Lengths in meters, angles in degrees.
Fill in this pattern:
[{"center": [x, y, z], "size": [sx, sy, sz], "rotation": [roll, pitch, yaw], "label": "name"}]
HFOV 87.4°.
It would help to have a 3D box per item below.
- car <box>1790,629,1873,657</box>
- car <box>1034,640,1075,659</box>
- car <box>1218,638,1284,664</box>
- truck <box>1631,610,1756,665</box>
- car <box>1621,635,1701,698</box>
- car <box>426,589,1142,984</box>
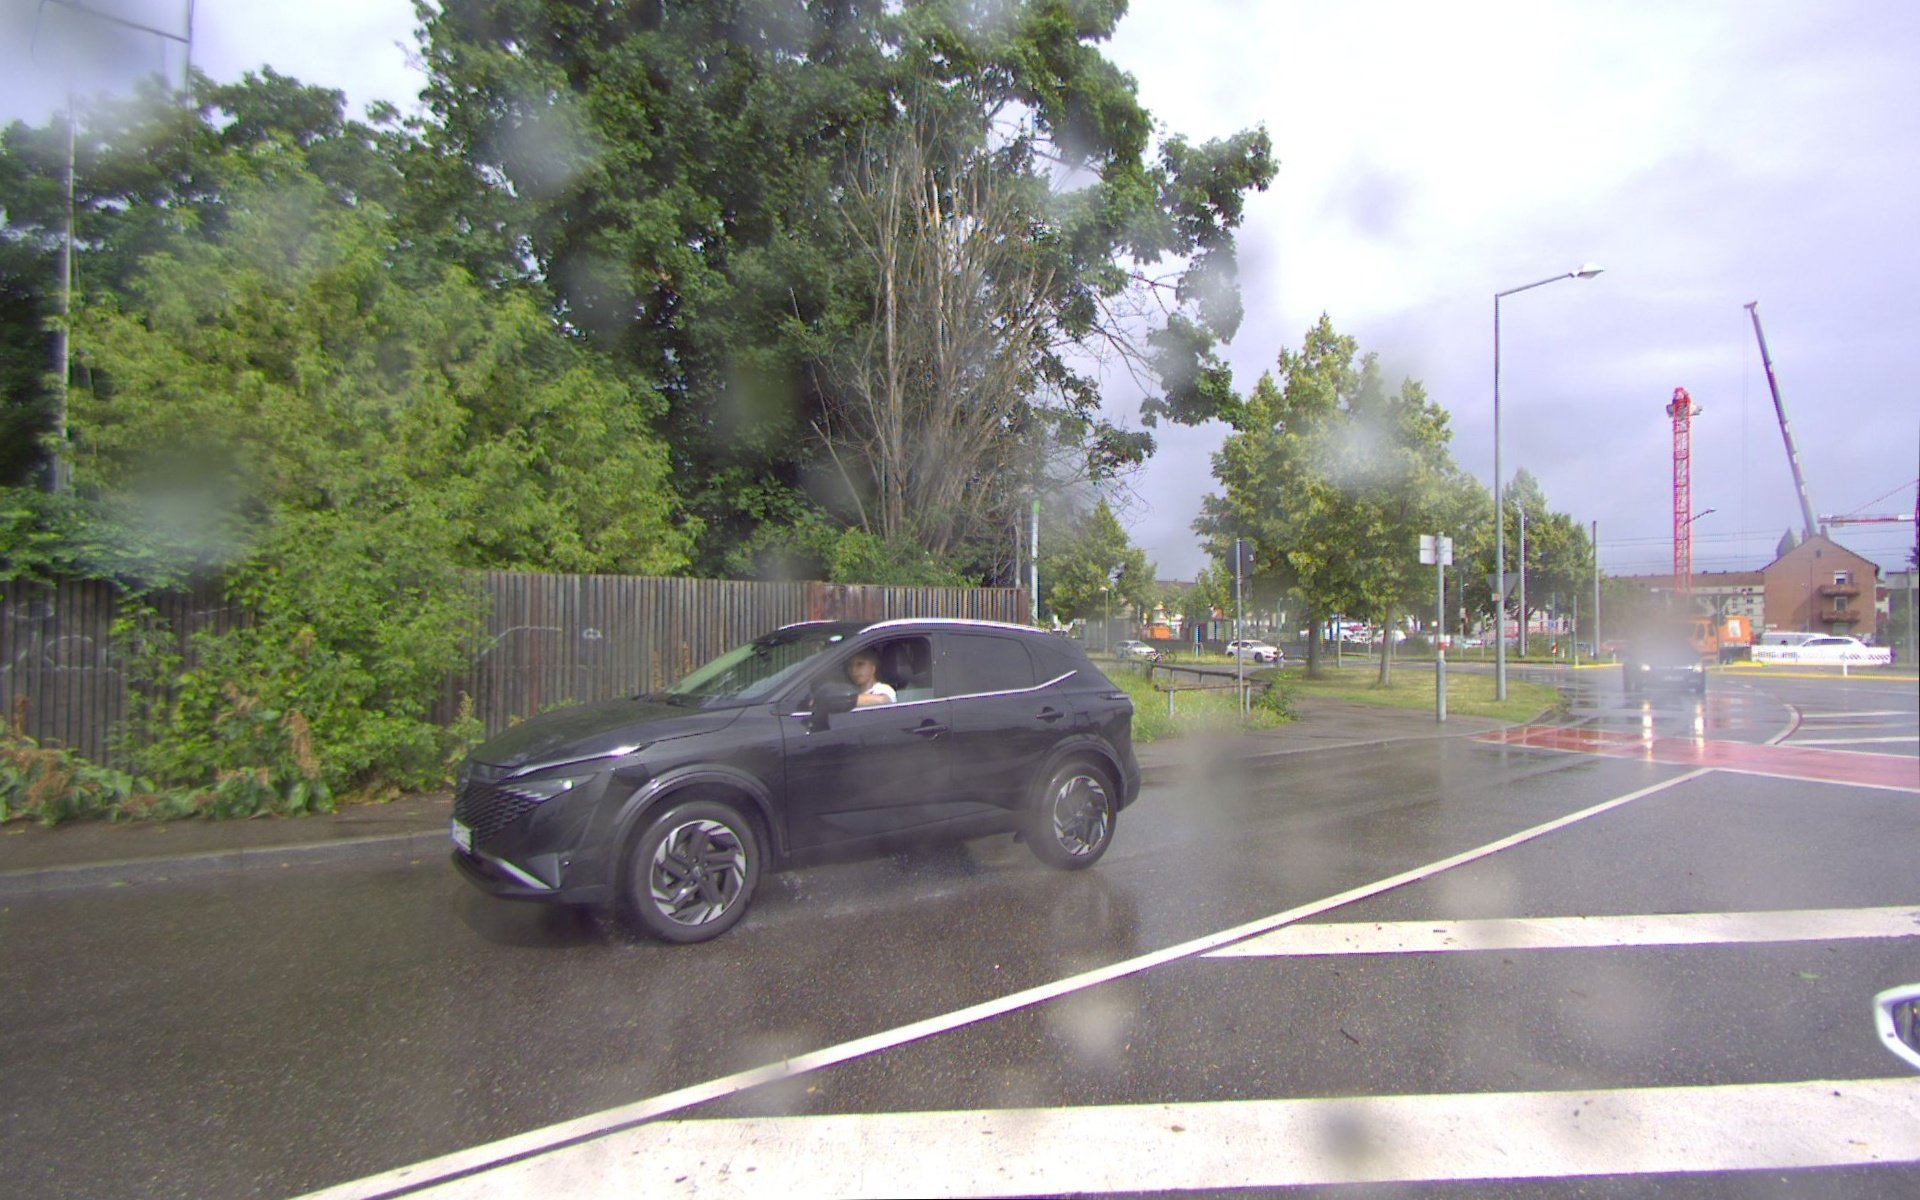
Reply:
[{"center": [52.481, 2.588, 60.559], "size": [3.441, 1.605, 1.565], "rotation": [0, -1, 26], "label": "car"}, {"center": [8.523, 4.449, 90.683], "size": [1.610, 1.649, 4.381], "rotation": [1, -1, -27], "label": "car"}, {"center": [19.737, 3.432, 68.323], "size": [1.613, 1.649, 4.373], "rotation": [1, -1, -32], "label": "car"}, {"center": [37.736, 1.913, 51.636], "size": [6.999, 2.685, 2.314], "rotation": [1, -1, -27], "label": "truck"}, {"center": [20.301, 1.857, 29.202], "size": [1.542, 1.670, 3.647], "rotation": [0, -1, 29], "label": "car"}, {"center": [-0.895, 0.882, 6.254], "size": [4.073, 1.685, 1.721], "rotation": [2, -3, -38], "label": "car"}]
